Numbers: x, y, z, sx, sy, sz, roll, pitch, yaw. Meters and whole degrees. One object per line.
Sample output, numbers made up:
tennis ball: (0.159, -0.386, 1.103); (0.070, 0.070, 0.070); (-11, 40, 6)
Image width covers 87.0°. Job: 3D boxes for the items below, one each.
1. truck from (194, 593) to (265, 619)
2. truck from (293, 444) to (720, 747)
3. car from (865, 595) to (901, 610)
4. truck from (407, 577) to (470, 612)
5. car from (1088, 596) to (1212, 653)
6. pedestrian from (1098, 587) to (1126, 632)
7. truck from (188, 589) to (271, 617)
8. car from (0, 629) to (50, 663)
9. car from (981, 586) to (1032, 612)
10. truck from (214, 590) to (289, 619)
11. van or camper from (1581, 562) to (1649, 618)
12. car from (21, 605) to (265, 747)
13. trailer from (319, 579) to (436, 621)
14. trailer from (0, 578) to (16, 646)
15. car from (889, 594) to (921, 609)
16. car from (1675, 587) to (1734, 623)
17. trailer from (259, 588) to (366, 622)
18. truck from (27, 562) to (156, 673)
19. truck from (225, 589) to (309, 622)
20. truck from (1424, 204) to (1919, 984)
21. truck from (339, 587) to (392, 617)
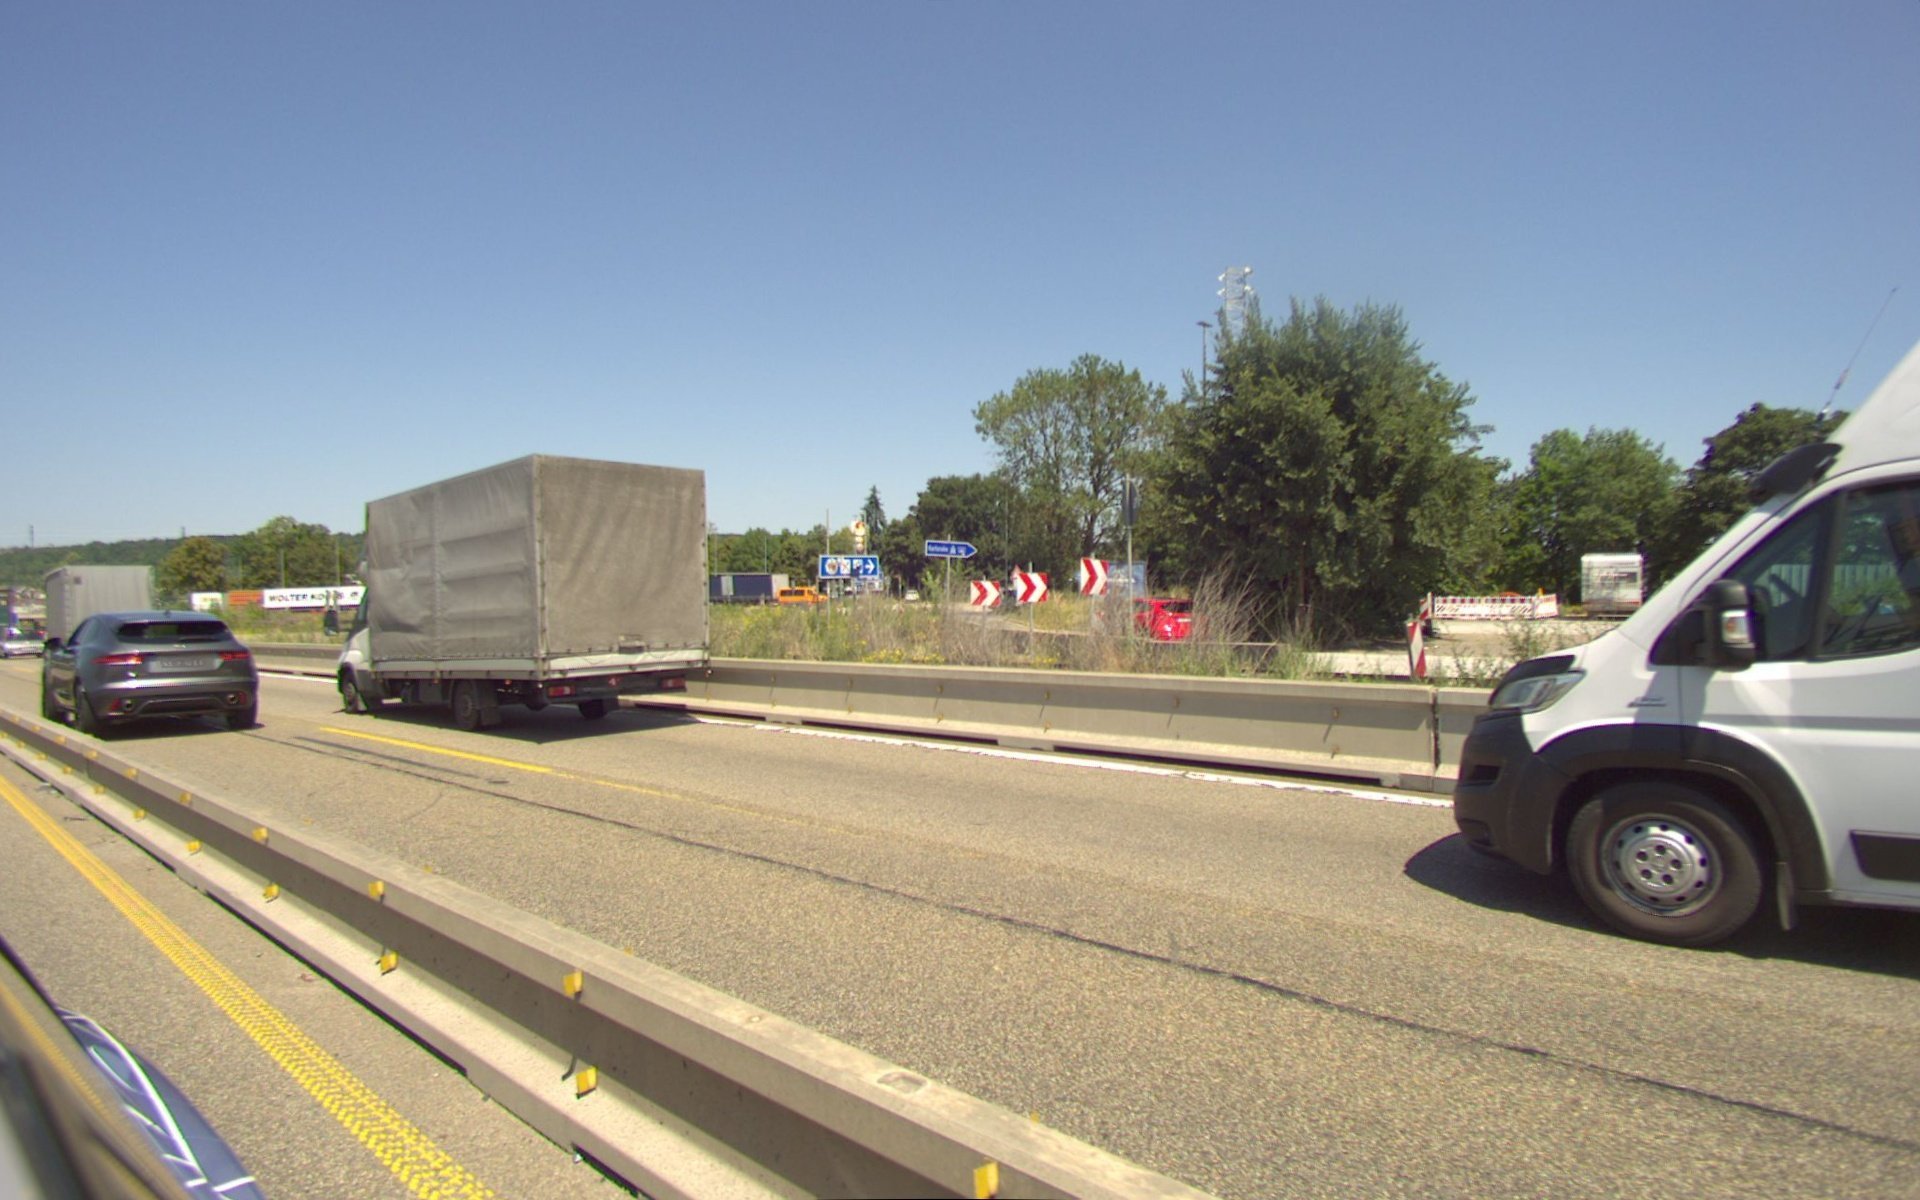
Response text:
truck: (-118.462, 0.900, 164.254); (9.018, 3.568, 2.695); (-4, 2, -5)
truck: (-6.943, -0.013, 14.675); (8.113, 3.317, 2.469); (-1, 0, 41)
car: (-10.114, 0.347, 132.969); (4.359, 1.847, 1.739); (-1, -1, 6)
truck: (-63.903, -0.664, 124.066); (6.054, 3.777, 2.837); (-4, 2, -4)
car: (5.280, 0.634, 28.671); (1.478, 1.342, 4.199); (-4, 2, -19)
pedestrian: (4.204, 0.259, 28.050); (0.467, 1.214, 0.587); (-1, -1, -34)
truck: (-121.470, 0.484, 168.406); (11.344, 3.701, 2.534); (-4, 2, -5)
car: (-44.713, 2.173, 48.163); (3.783, 1.459, 1.606); (-2, 0, 40)
car: (3.998, -0.121, 86.336); (3.935, 2.029, 2.004); (-3, 0, -37)
truck: (-109.533, 0.676, 156.491); (9.135, 3.701, 2.866); (-4, 2, -5)
van or camper: (30.358, -0.446, 46.815); (2.442, 2.417, 5.162); (-2, -1, 35)
car: (-11.625, 0.949, 14.273); (4.743, 1.671, 1.921); (-2, -1, 42)
trailer: (-71.057, -0.027, 123.587); (12.193, 4.197, 2.863); (-4, 2, -4)
trailer: (-65.069, 0.922, 66.731); (13.847, 4.230, 2.974); (-2, -1, 42)
car: (-7.006, 0.241, 129.638); (3.938, 1.847, 1.745); (-1, -1, -6)
car: (33.132, 0.223, 45.133); (1.996, 1.475, 3.952); (-2, 0, 35)
trailer: (-89.696, 0.635, 140.244); (12.561, 3.812, 2.624); (-4, 2, -4)
truck: (-29.785, 0.594, 34.580); (7.713, 3.410, 2.364); (-2, 0, 42)
truck: (-104.298, 0.803, 152.445); (9.742, 4.250, 3.590); (-4, 2, -6)
truck: (5.370, -0.065, 3.454); (6.489, 2.807, 2.216); (-2, 0, 41)
truck: (-82.676, 0.284, 140.866); (5.648, 3.644, 2.585); (-4, 2, -8)
